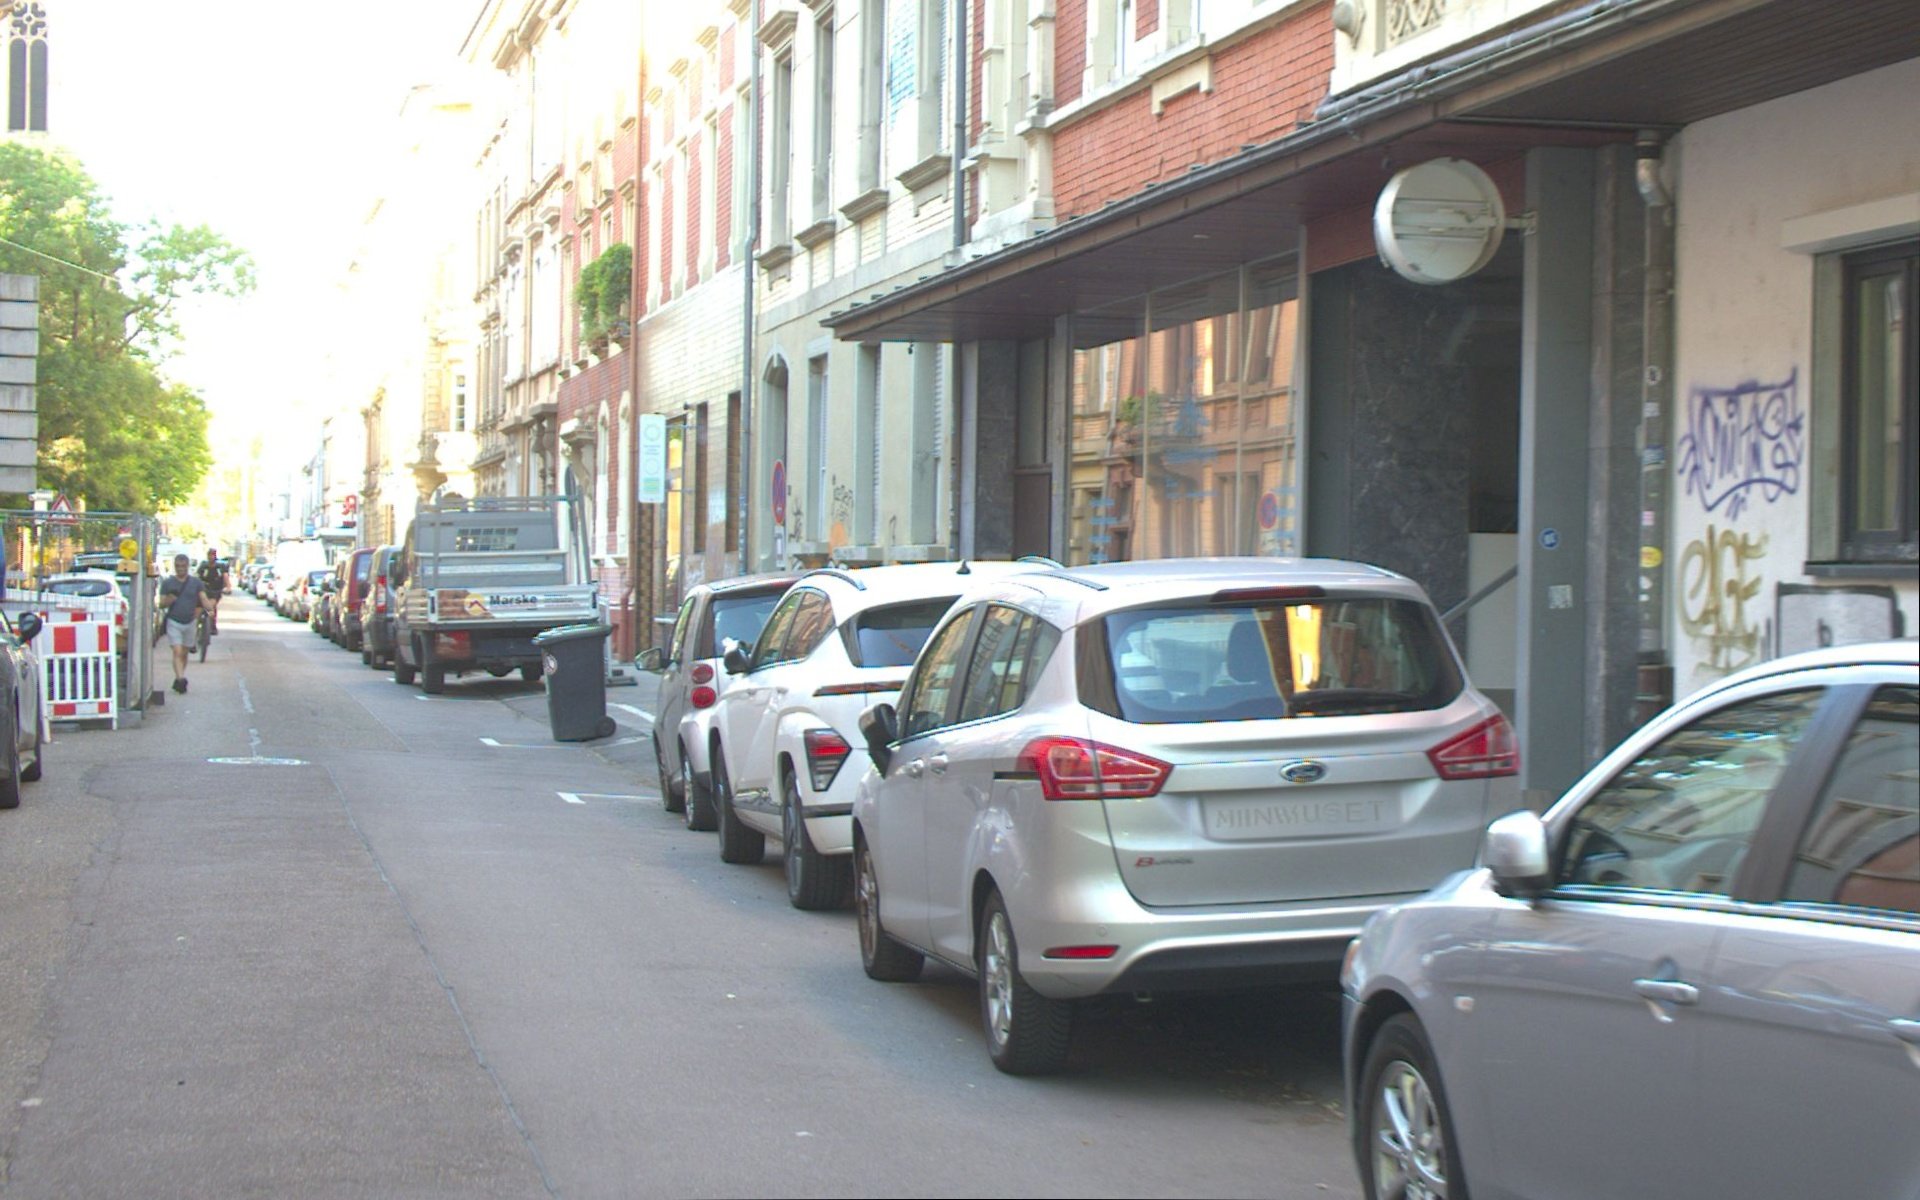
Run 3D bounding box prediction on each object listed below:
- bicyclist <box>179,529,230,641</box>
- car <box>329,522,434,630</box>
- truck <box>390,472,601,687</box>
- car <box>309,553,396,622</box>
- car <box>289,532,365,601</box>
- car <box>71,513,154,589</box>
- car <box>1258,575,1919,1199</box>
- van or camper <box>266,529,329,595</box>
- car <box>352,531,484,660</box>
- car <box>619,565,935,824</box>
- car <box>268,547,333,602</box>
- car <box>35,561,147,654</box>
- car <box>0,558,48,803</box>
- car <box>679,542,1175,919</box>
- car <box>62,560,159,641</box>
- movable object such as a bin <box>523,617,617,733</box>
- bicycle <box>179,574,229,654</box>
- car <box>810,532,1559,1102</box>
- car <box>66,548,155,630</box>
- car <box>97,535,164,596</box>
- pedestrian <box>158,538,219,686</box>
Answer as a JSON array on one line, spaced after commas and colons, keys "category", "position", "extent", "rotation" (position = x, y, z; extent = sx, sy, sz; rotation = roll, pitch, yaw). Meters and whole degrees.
[{"category": "bicyclist", "position": [-12.058, -0.244, 54.873], "extent": [0.730, 1.755, 0.835], "rotation": [2, 1, -12]}, {"category": "car", "position": [-11.246, -0.467, 66.663], "extent": [1.674, 2.024, 3.870], "rotation": [0, 0, -14]}, {"category": "truck", "position": [-6.054, -0.286, 44.247], "extent": [2.189, 2.598, 5.236], "rotation": [0, 1, -13]}, {"category": "car", "position": [-14.127, -0.296, 79.844], "extent": [1.674, 1.566, 3.870], "rotation": [0, 0, -14]}, {"category": "car", "position": [-19.120, -1.029, 103.766], "extent": [1.993, 2.007, 4.001], "rotation": [1, 1, -13]}, {"category": "car", "position": [-18.146, -1.041, 73.539], "extent": [1.674, 1.566, 3.870], "rotation": [0, 0, -14]}, {"category": "car", "position": [2.012, 0.771, 5.999], "extent": [1.720, 1.557, 4.400], "rotation": [1, 1, -12]}, {"category": "van or camper", "position": [-25.389, -1.453, 131.700], "extent": [1.993, 2.500, 4.203], "rotation": [0, 1, -16]}, {"category": "car", "position": [-8.621, -0.089, 54.445], "extent": [1.674, 1.956, 4.110], "rotation": [0, 0, -14]}, {"category": "car", "position": [-1.288, 0.553, 22.742], "extent": [1.596, 1.555, 3.815], "rotation": [0, 1, -10]}, {"category": "car", "position": [-22.486, -0.887, 117.079], "extent": [1.993, 1.842, 4.001], "rotation": [0, 1, -13]}, {"category": "car", "position": [-13.912, 0.104, 55.026], "extent": [1.674, 1.440, 3.870], "rotation": [0, 0, -14]}, {"category": "car", "position": [-7.011, 0.460, 22.751], "extent": [1.674, 1.472, 4.609], "rotation": [0, 0, -12]}, {"category": "car", "position": [-0.310, 0.569, 17.542], "extent": [1.746, 1.670, 4.342], "rotation": [0, 0, -11]}, {"category": "car", "position": [-15.745, -0.009, 63.652], "extent": [1.674, 1.440, 3.870], "rotation": [0, 0, -14]}, {"category": "movable object such as a bin", "position": [-3.661, 0.698, 32.227], "extent": [0.795, 1.052, 0.660], "rotation": [1, 0, -12]}, {"category": "bicycle", "position": [-12.048, 0.214, 54.836], "extent": [0.724, 1.182, 2.043], "rotation": [2, 1, -12]}, {"category": "car", "position": [0.595, 0.628, 12.021], "extent": [1.639, 1.650, 3.870], "rotation": [1, 0, -11]}, {"category": "car", "position": [-16.918, -0.223, 68.402], "extent": [1.674, 1.566, 3.870], "rotation": [0, 0, -14]}, {"category": "car", "position": [-25.603, -1.067, 106.147], "extent": [1.993, 1.842, 4.001], "rotation": [0, 1, -13]}, {"category": "pedestrian", "position": [-9.160, 0.135, 40.825], "extent": [0.657, 1.727, 0.720], "rotation": [-1, 1, -12]}]
